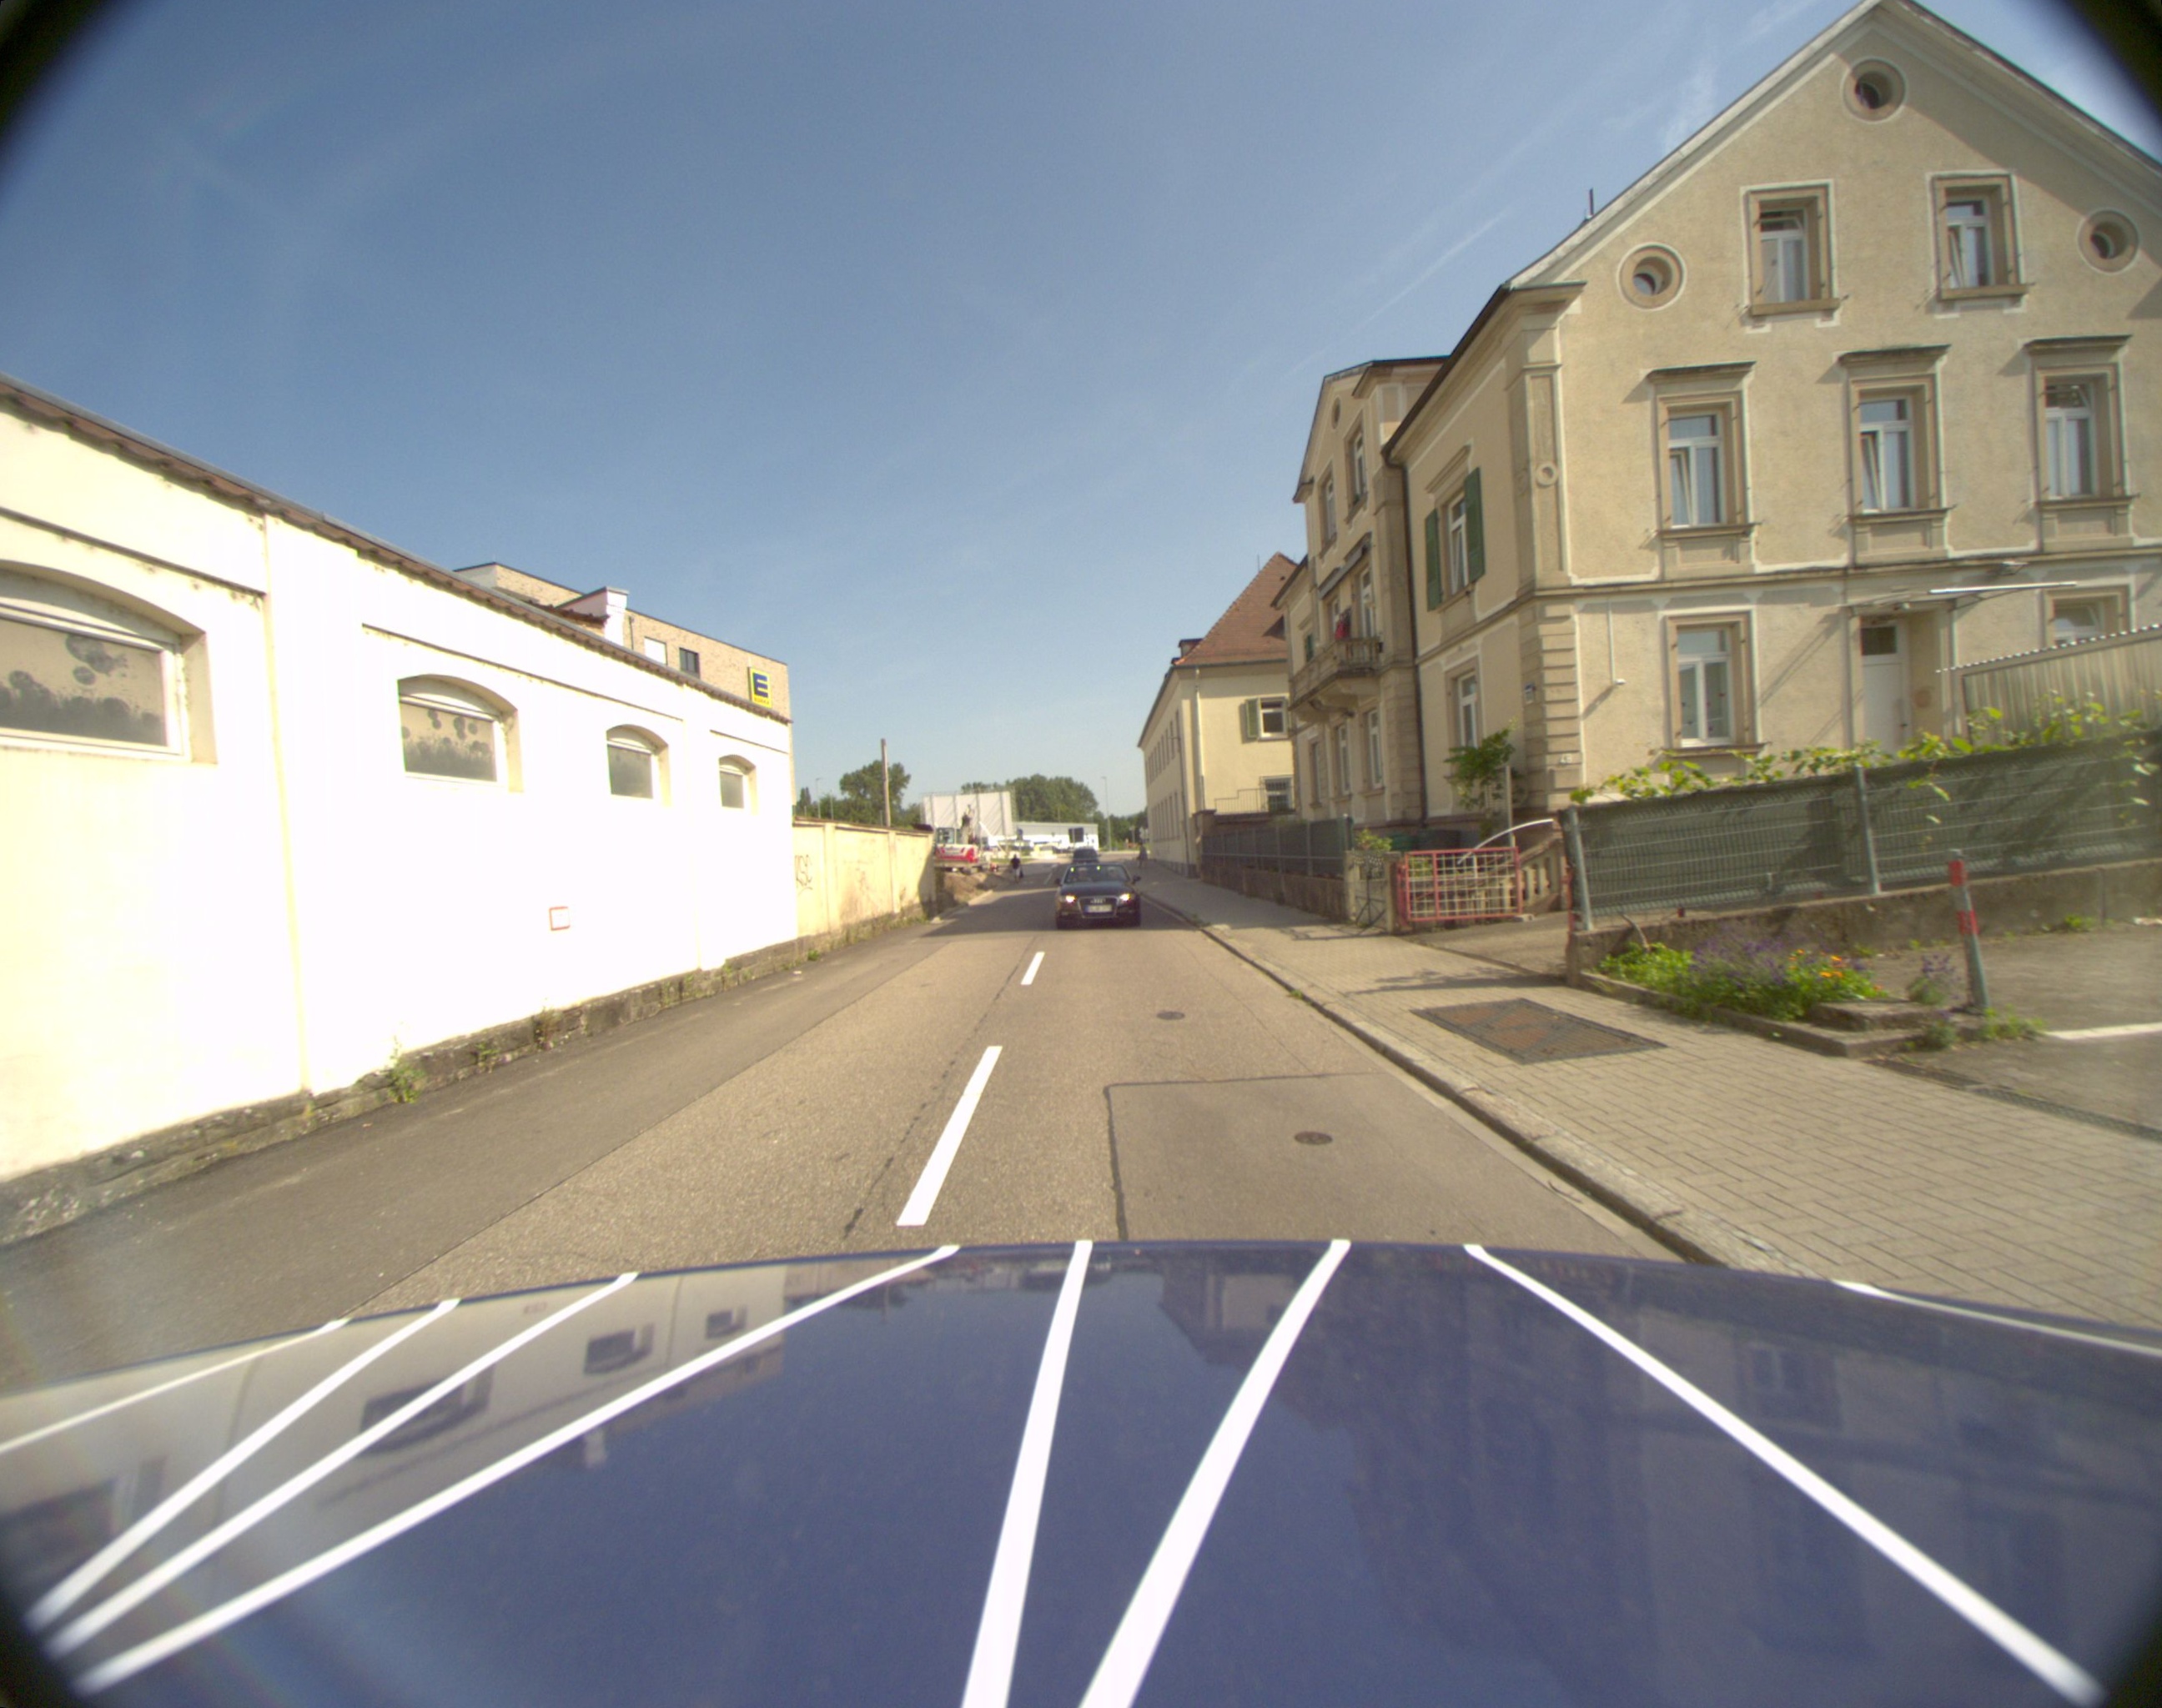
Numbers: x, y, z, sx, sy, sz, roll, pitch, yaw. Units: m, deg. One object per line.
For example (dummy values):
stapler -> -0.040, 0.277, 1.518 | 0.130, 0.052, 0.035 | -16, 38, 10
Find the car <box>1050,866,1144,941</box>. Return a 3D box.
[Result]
car -> 0.349, 0.963, 16.402 | 1.721, 1.314, 4.225 | -2, 0, 1

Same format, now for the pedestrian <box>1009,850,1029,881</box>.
pedestrian -> -3.556, 0.675, 43.682 | 0.890, 1.673, 0.718 | -5, 2, 1

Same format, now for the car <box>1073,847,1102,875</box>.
car -> 0.432, 0.401, 47.114 | 1.642, 1.385, 4.228 | -3, 3, 1

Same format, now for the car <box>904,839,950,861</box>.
car -> -21.917, -0.564, 108.228 | 6.080, 2.369, 2.063 | -6, 0, 20

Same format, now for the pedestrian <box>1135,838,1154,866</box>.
pedestrian -> 3.813, -0.149, 45.901 | 0.960, 1.622, 0.758 | -4, 2, 1

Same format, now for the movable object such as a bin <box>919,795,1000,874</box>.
movable object such as a bin -> -6.618, -1.081, 42.638 | 2.300, 3.832, 7.799 | -6, 1, 5

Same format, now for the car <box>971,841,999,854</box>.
car -> -14.923, -0.978, 118.391 | 4.018, 1.564, 1.779 | -6, 0, 3
